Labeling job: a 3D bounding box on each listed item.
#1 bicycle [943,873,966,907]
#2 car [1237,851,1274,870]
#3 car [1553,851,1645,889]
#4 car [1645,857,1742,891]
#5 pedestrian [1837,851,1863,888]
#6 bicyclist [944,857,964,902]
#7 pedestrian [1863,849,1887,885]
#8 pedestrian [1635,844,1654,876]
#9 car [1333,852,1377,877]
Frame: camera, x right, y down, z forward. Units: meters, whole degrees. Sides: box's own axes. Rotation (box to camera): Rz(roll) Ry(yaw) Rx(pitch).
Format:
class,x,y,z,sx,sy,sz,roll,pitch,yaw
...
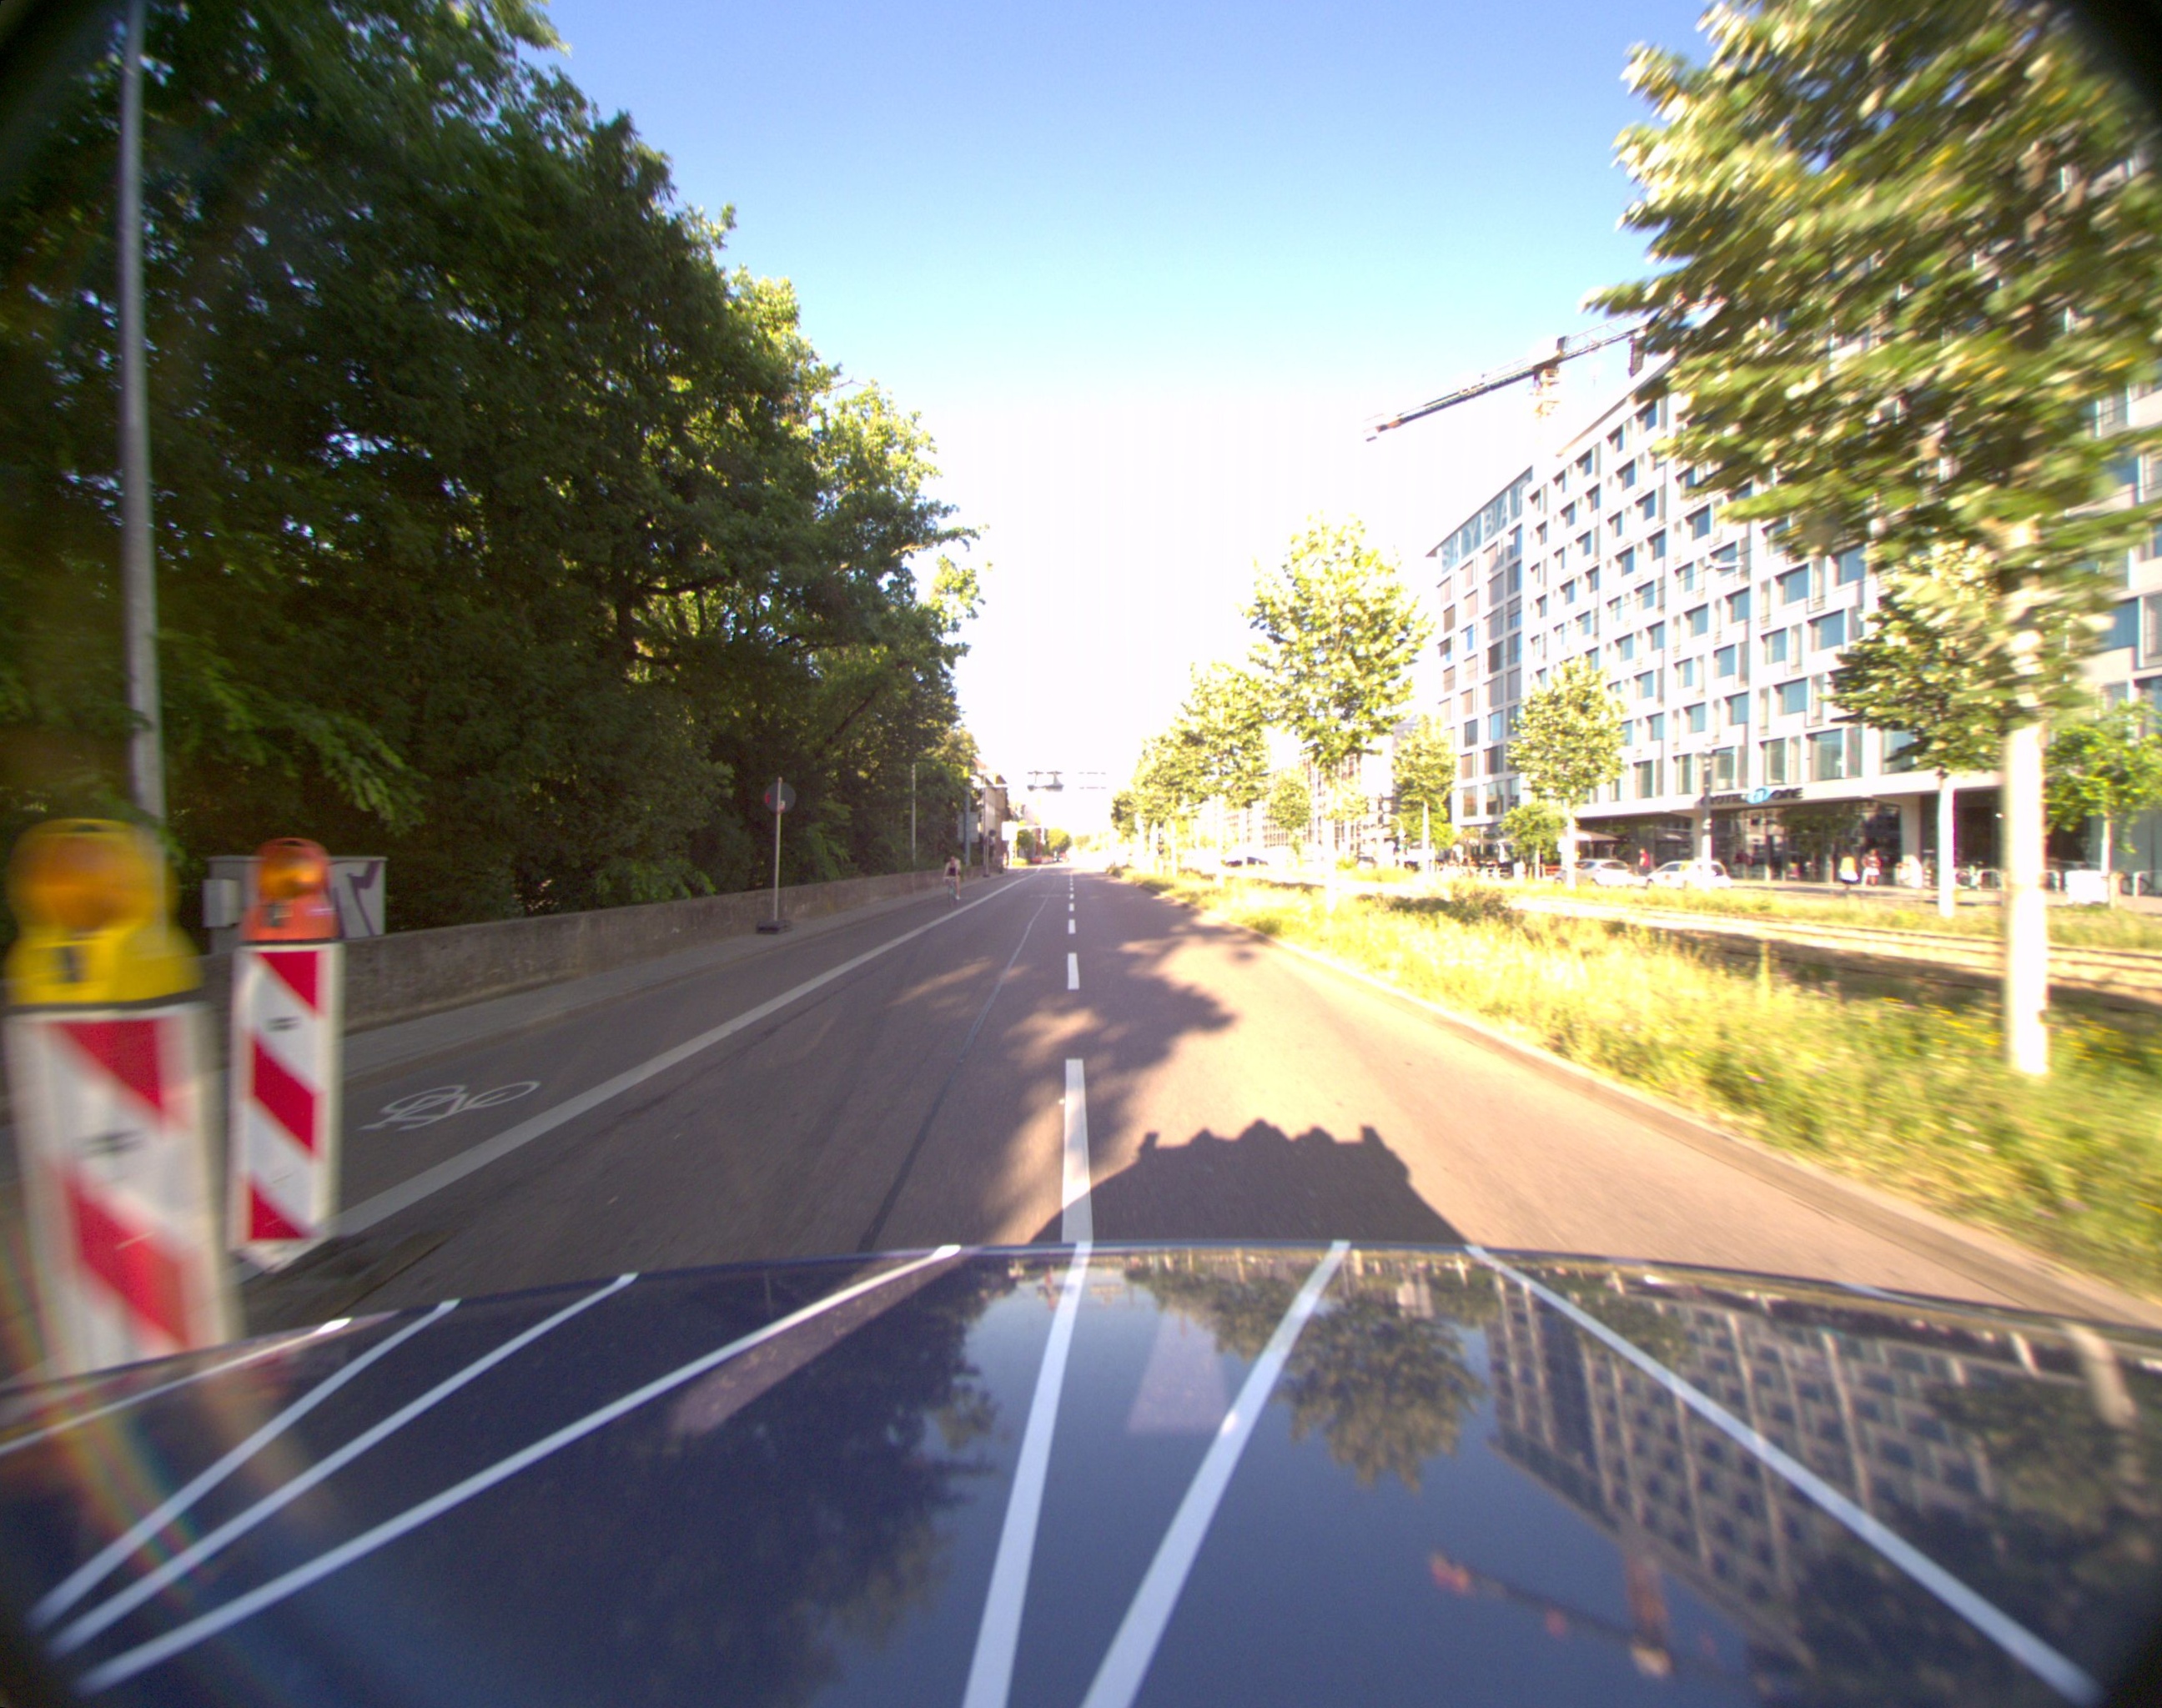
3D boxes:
class,x,y,z,sx,sy,sz,roll,pitch,yaw
bicycle,-4.063,1.134,24.463,0.506,1.018,1.505,0,1,-1
car,17.147,0.649,74.977,1.877,1.742,3.787,-2,1,-17
car,23.948,0.714,35.274,1.874,1.582,3.482,-2,1,-1
car,29.365,0.930,36.543,1.874,1.458,3.389,-2,1,-1
pedestrian,33.738,0.686,33.341,0.479,1.626,0.597,0,1,0
bicyclist,-4.063,0.802,24.397,0.516,1.399,0.805,0,1,-1
pedestrian,36.159,0.594,34.611,0.479,1.626,0.597,0,1,0
pedestrian,34.906,0.374,47.058,0.622,2.002,0.726,0,1,0
car,20.750,0.766,57.708,1.874,1.742,3.792,-2,1,-1
